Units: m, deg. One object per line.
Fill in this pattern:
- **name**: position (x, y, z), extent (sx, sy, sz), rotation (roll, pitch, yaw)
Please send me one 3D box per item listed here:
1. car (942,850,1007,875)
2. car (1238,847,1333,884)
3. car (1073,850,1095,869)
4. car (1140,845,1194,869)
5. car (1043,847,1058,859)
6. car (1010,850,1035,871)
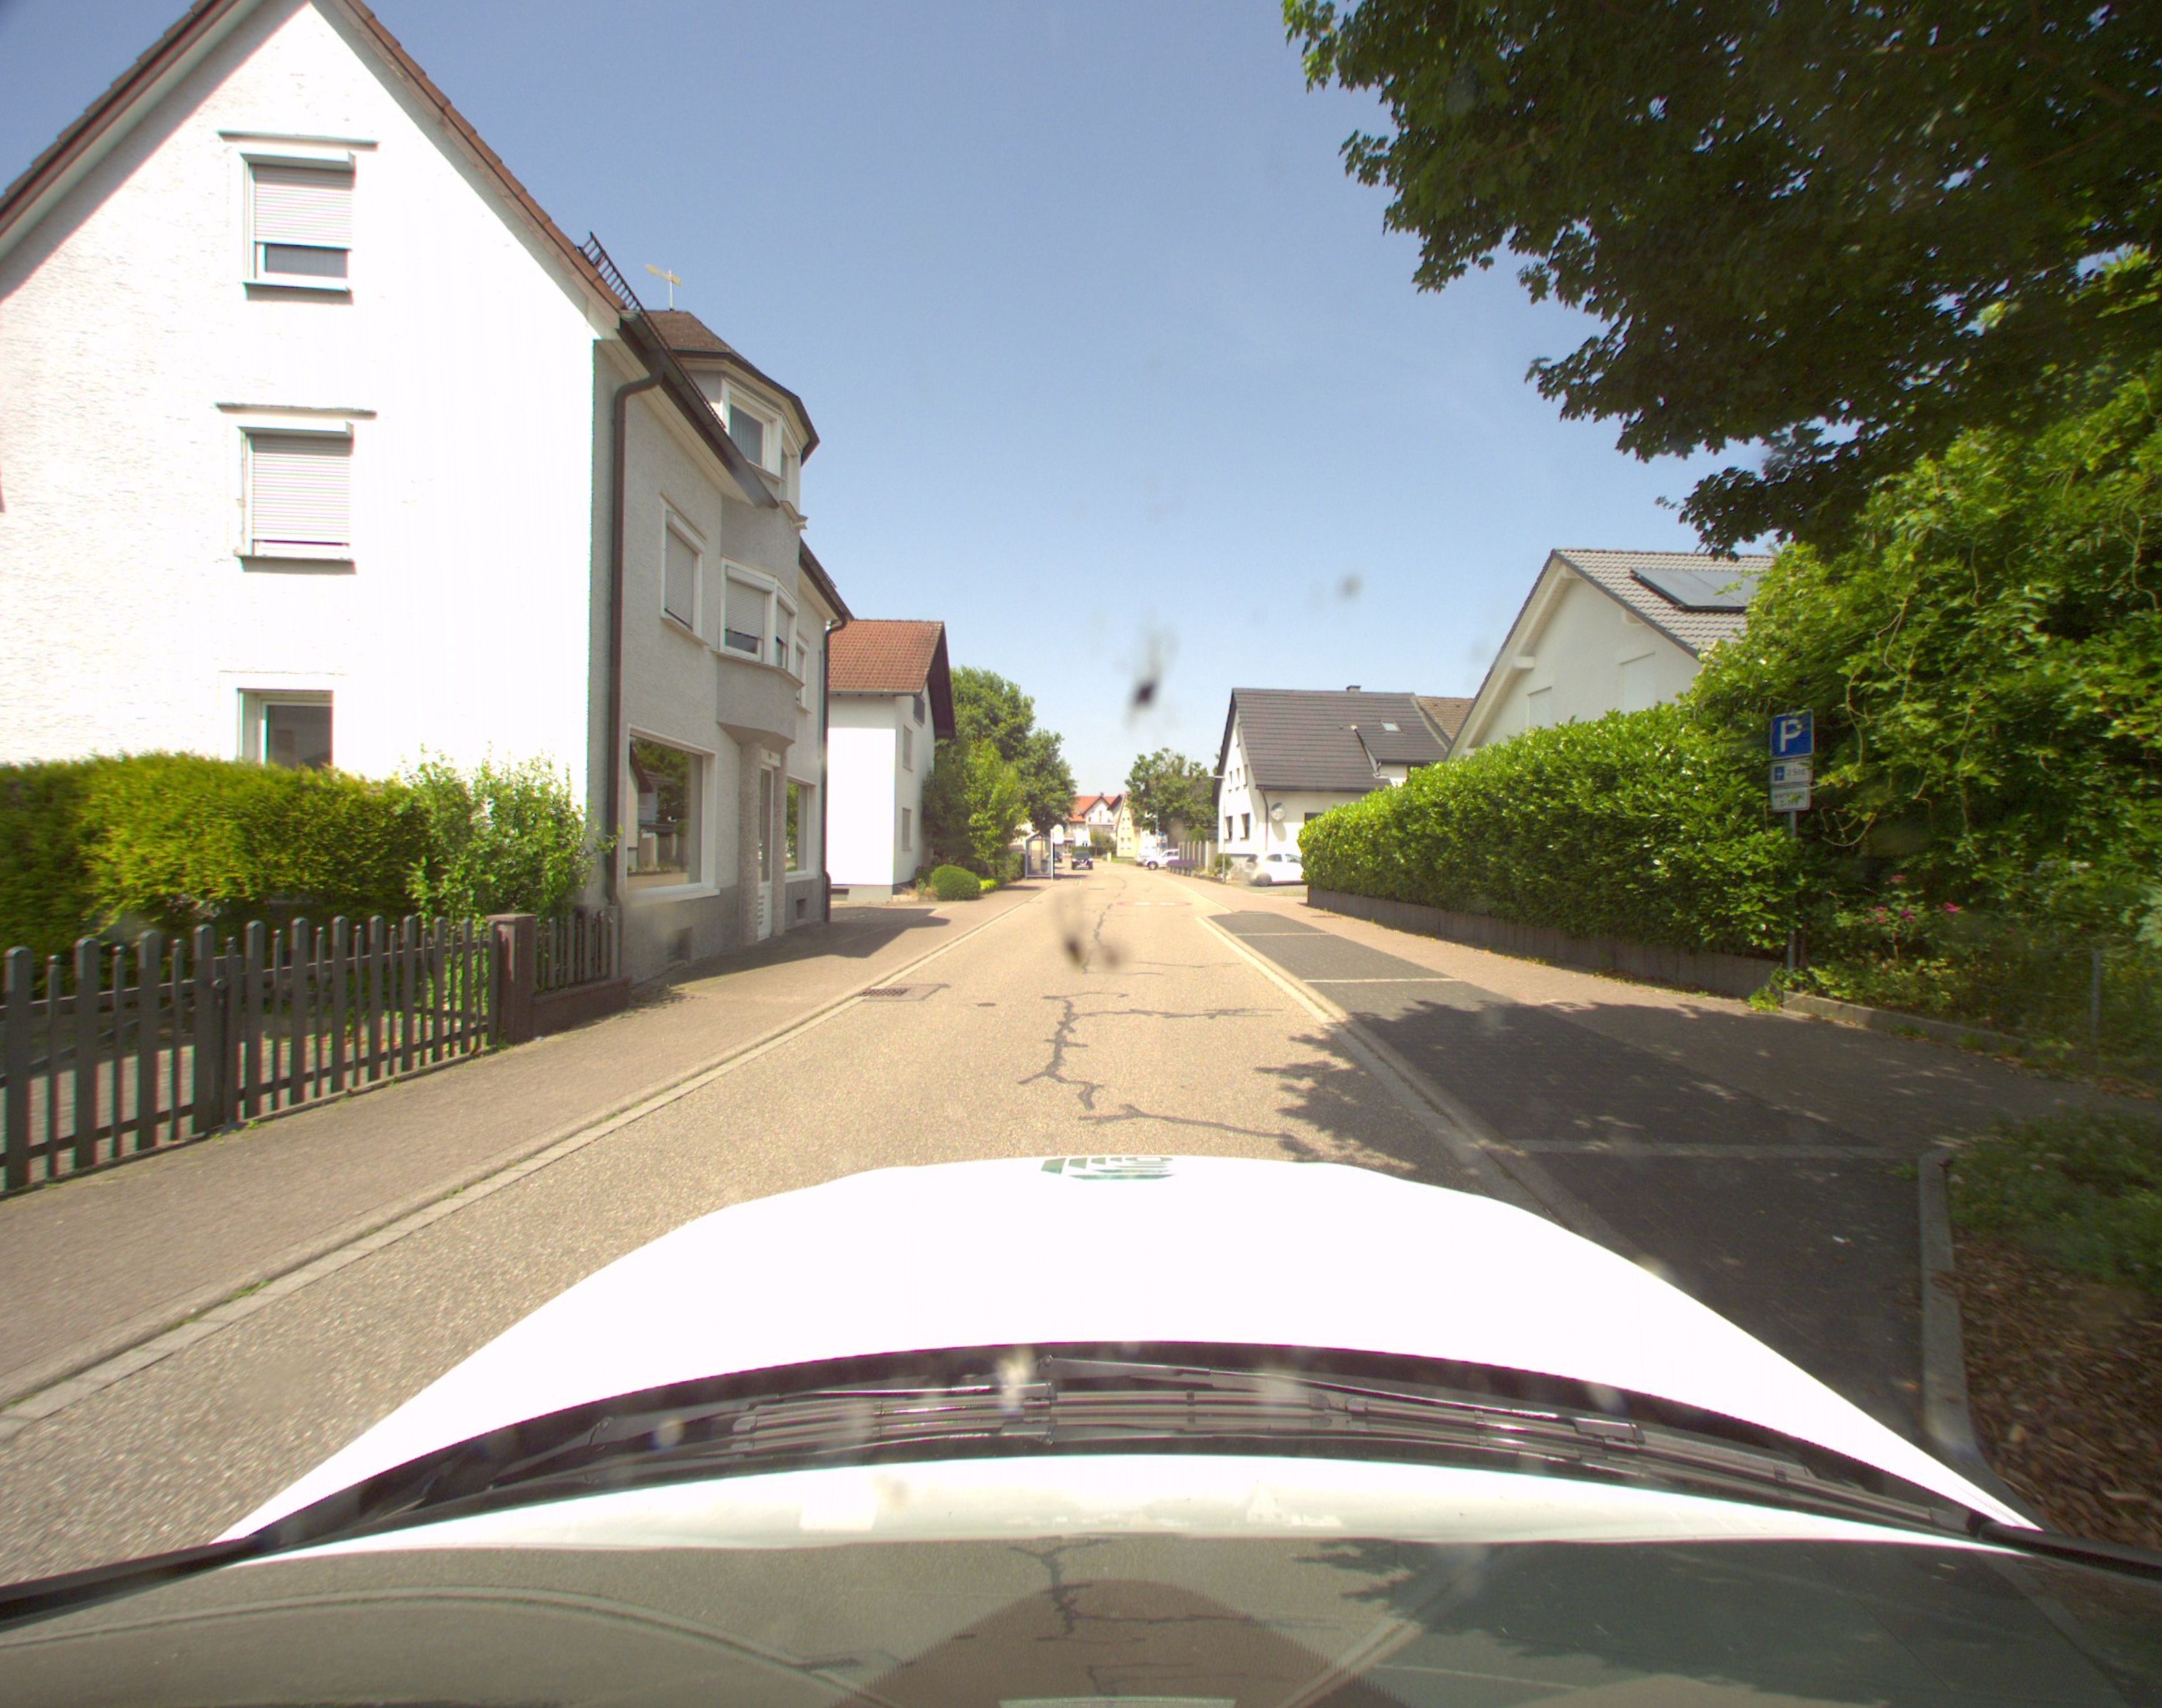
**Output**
- **car**: position (-7.137, 0.539, 54.895), extent (4.150, 1.538, 1.772), rotation (-1, 1, -3)
- **car**: position (8.892, 0.499, 35.564), extent (3.651, 1.474, 1.763), rotation (-1, 1, -5)
- **car**: position (0.257, 0.453, 72.016), extent (1.771, 1.623, 4.102), rotation (-1, 0, -2)
- **car**: position (7.177, 0.230, 68.065), extent (4.302, 1.767, 1.892), rotation (-2, 0, 0)
- **car**: position (-3.880, -0.095, 104.638), extent (1.624, 1.486, 3.991), rotation (-1, 1, -6)
- **car**: position (-4.235, 0.449, 59.370), extent (1.775, 1.434, 4.051), rotation (1, 1, -4)
